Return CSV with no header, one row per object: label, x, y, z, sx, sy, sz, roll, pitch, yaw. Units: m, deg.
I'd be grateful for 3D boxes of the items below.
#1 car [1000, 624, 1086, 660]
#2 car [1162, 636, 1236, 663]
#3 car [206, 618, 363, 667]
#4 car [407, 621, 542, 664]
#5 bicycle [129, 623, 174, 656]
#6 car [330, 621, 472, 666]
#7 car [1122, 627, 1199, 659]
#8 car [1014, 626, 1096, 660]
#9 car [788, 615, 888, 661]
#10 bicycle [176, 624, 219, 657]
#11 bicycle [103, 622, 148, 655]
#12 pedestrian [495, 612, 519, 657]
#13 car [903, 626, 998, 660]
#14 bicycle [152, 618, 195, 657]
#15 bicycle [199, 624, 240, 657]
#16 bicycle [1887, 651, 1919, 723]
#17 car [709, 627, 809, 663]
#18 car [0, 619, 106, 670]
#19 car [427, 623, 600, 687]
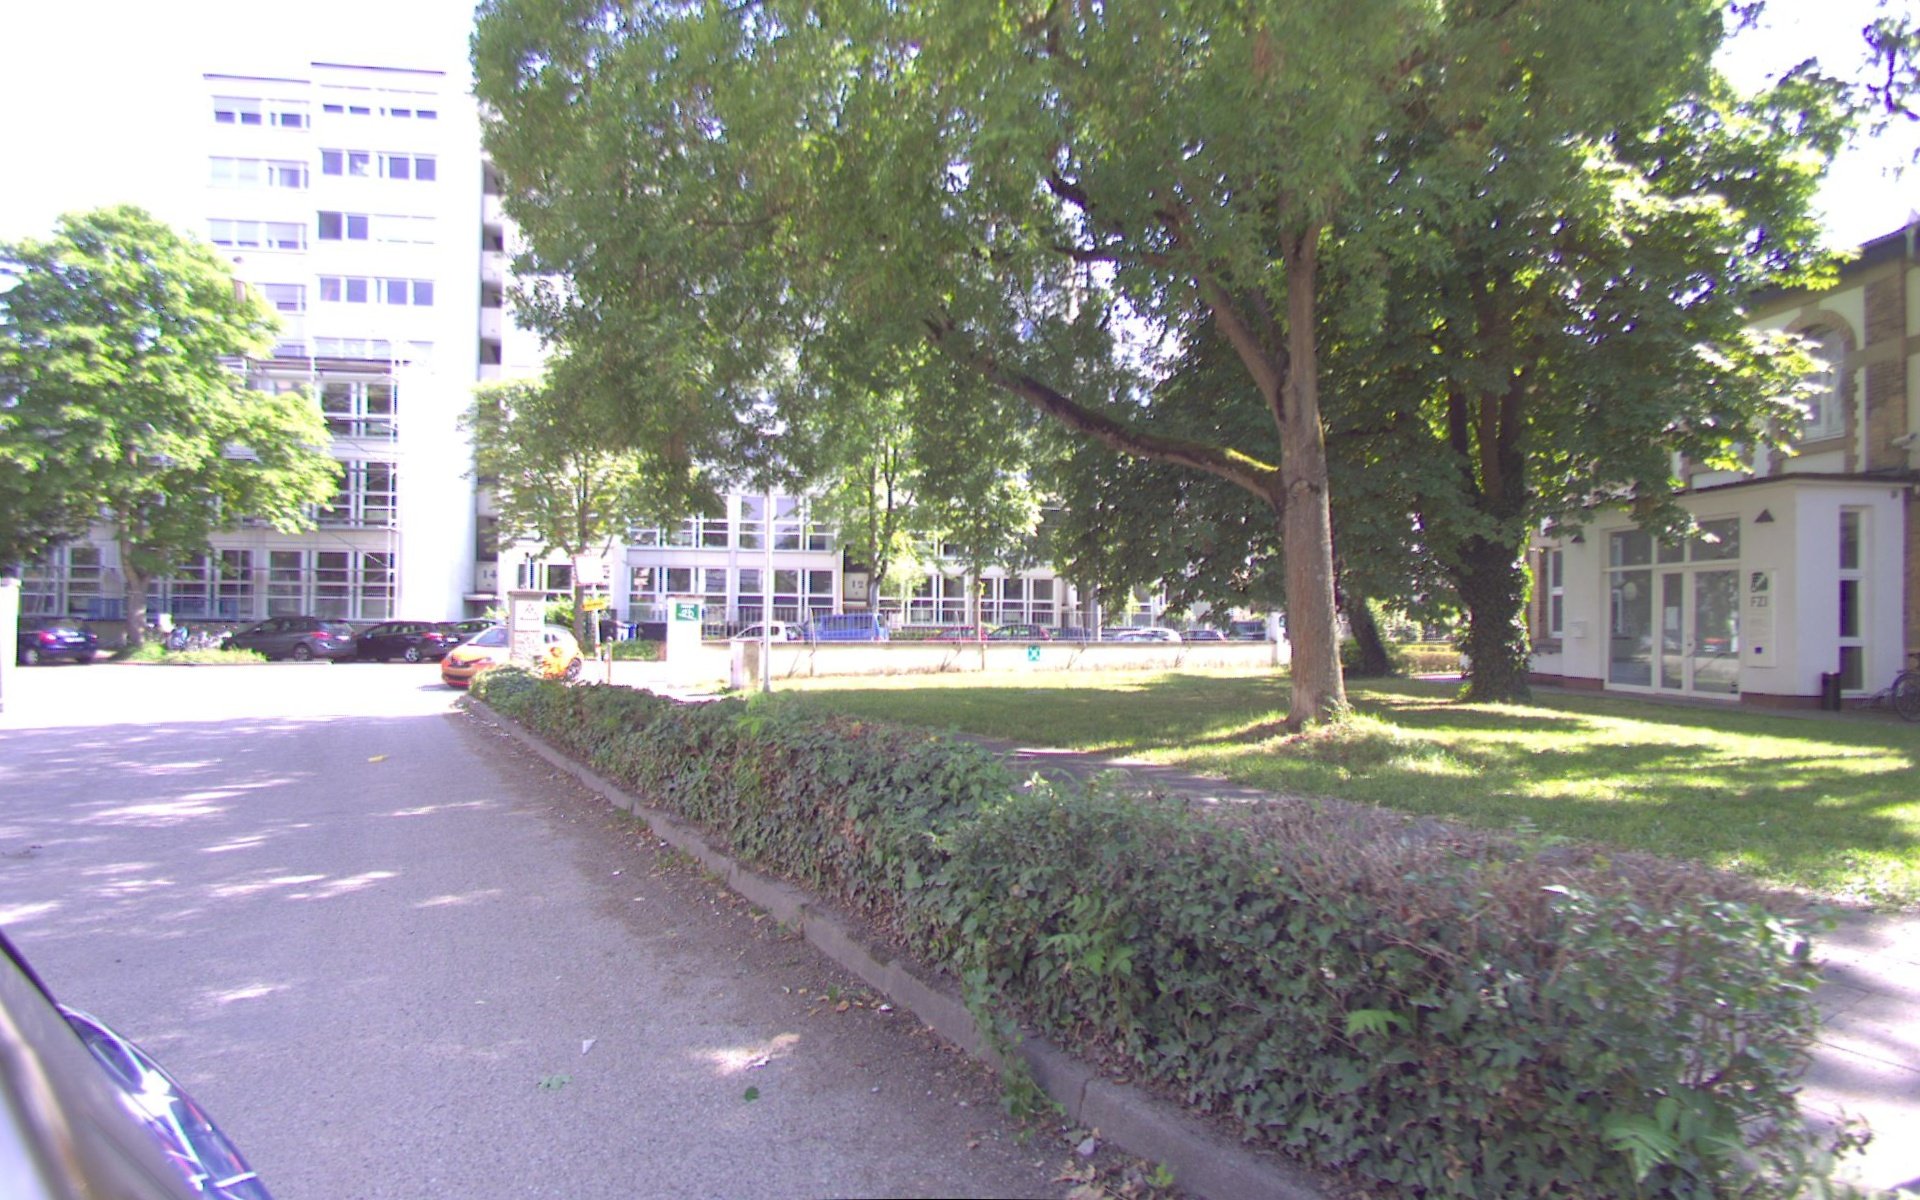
car,4.006,2.019,48.702,3.958,1.652,1.797,-1,-2,12
car,13.270,2.730,56.313,3.960,1.428,1.777,0,-2,13
car,-22.481,1.392,33.757,4.343,1.577,1.802,0,-2,11
car,-17.856,1.552,37.313,4.295,1.497,1.795,0,-2,12
bicycle,-30.026,1.451,37.609,0.481,1.209,2.022,1,-2,-14
car,-19.563,1.507,35.502,4.138,1.487,1.796,0,-2,9
car,10.846,2.309,54.749,3.964,1.674,1.820,0,-2,16
car,4.806,2.151,50.867,3.958,1.652,1.825,-1,-2,12
car,-5.272,1.644,43.892,3.958,1.921,1.780,-1,-2,12
bicycle,-28.520,1.490,37.880,0.481,1.209,2.022,1,-2,-14
bicycle,-30.770,1.410,37.351,0.481,1.209,2.022,1,-2,-15
pedestrian,-18.359,1.409,40.987,0.741,1.790,0.733,1,-2,-35
car,-0.423,2.012,47.489,4.176,1.550,1.776,-1,-2,12
bicycle,-29.341,1.390,37.781,0.481,1.389,2.022,1,-2,-14
bicycle,-27.862,1.526,38.124,0.481,1.209,2.022,1,-2,-14
bicycle,14.216,1.249,14.522,1.517,1.000,0.446,1,-1,-6
car,-8.423,1.863,42.366,3.825,1.475,1.697,-1,-2,23
car,-27.754,1.296,29.950,3.956,1.463,1.649,0,-1,10
car,-10.697,1.311,24.597,1.646,1.423,4.156,-1,-2,14
